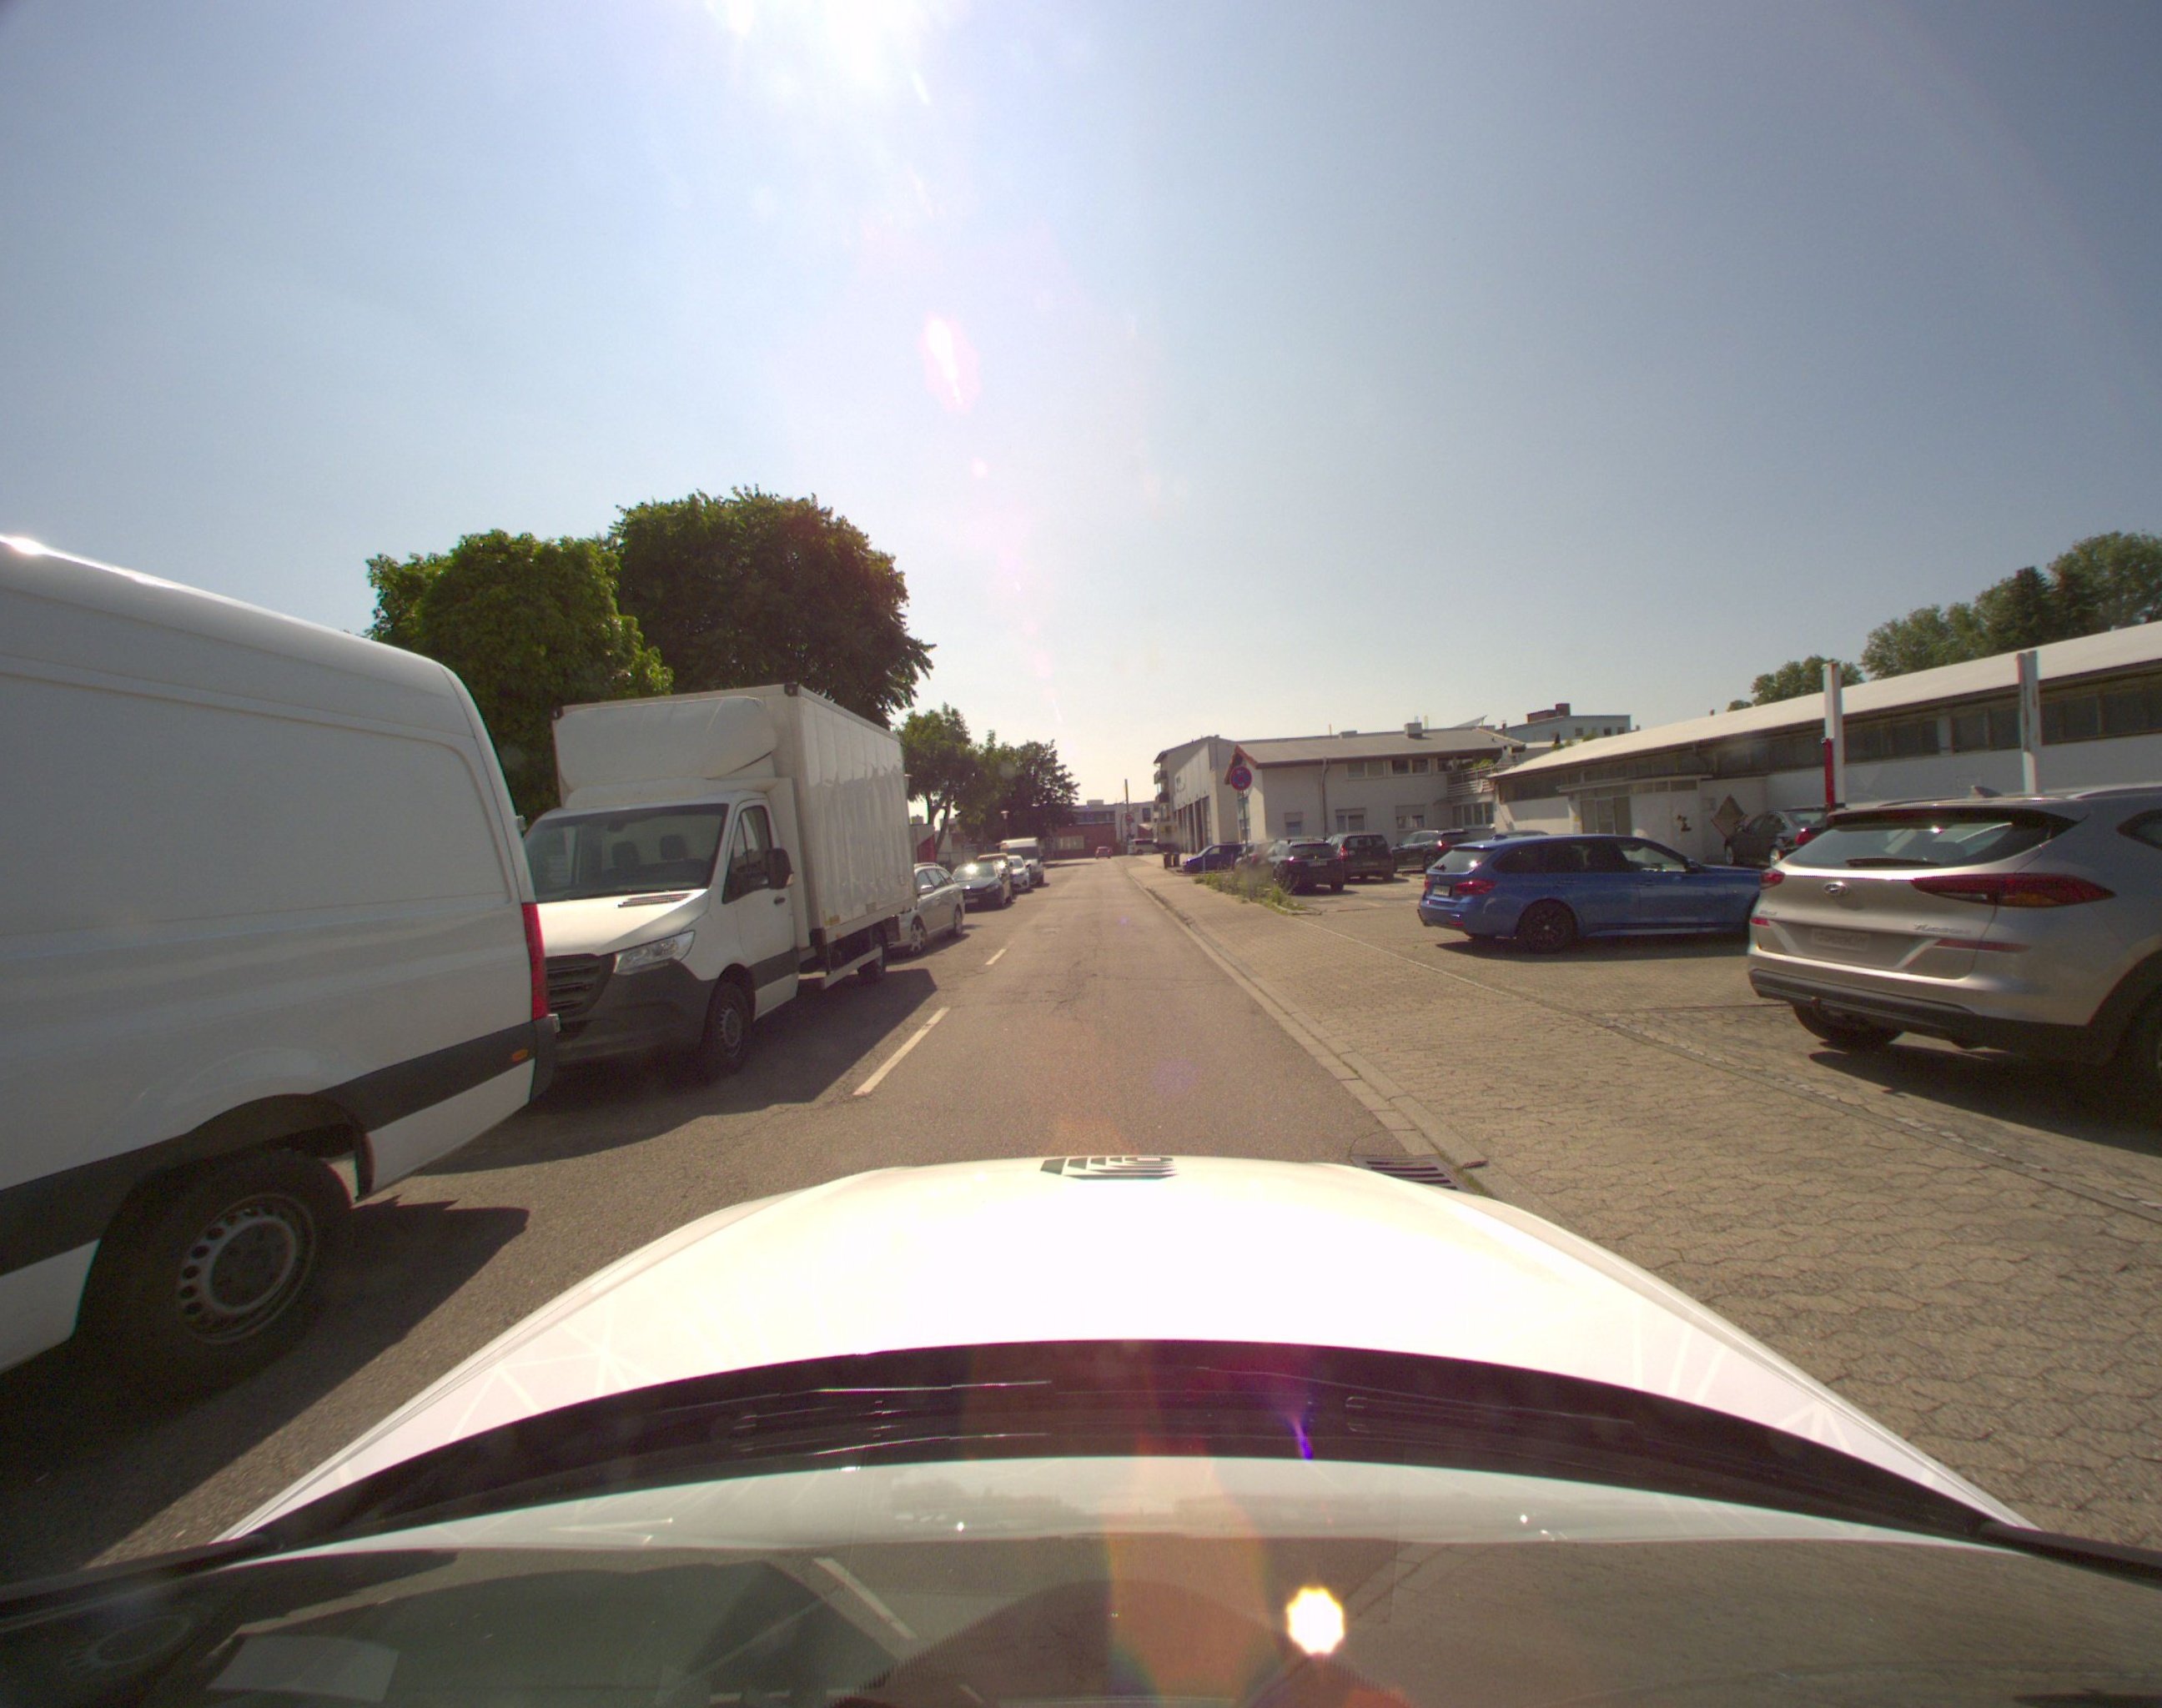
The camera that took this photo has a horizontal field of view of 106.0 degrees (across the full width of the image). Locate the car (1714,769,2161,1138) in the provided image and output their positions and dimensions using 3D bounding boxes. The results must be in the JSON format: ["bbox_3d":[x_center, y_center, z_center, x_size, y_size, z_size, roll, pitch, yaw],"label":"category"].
[{"bbox_3d":[6.352,0.473,4.615,4.187,1.682,1.767,1,0,0],"label":"car"}]

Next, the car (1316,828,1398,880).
[{"bbox_3d":[8.978,-0.046,26.784,1.751,1.595,3.624,0,1,5],"label":"car"}]

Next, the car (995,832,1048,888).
[{"bbox_3d":[-2.800,0.311,39.697,1.999,2.366,5.228,-5,-1,0],"label":"car"}]

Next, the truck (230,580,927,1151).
[{"bbox_3d":[-3.804,0.067,8.639,2.676,3.366,7.130,-4,0,0],"label":"truck"}]

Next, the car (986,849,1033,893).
[{"bbox_3d":[-2.970,0.669,34.524,1.701,1.624,3.969,-5,1,-3],"label":"car"}]

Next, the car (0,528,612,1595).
[{"bbox_3d":[-3.770,0.552,0.879,2.160,2.595,6.922,-5,0,2],"label":"car"}]

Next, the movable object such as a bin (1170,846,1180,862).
[{"bbox_3d":[5.705,-0.015,49.334,0.510,0.946,0.489,-4,1,13],"label":"movable object such as a bin"}]

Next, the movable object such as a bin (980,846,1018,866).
[{"bbox_3d":[-7.070,0.138,70.507,2.613,1.510,2.734,-4,1,7],"label":"movable object such as a bin"}]

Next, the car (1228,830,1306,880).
[{"bbox_3d":[6.617,0.006,29.420,1.805,1.558,4.293,-4,1,1],"label":"car"}]

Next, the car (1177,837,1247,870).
[{"bbox_3d":[6.617,-0.042,41.228,3.241,1.398,1.674,-4,1,1],"label":"car"}]

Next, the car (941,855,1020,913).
[{"bbox_3d":[-3.038,0.870,25.426,1.698,1.462,4.116,-5,1,2],"label":"car"}]

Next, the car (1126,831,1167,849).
[{"bbox_3d":[8.092,-1.701,100.907,4.667,1.957,1.905,-4,1,-18],"label":"car"}]

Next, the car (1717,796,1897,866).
[{"bbox_3d":[16.399,-0.530,18.673,1.694,1.324,4.210,-3,1,22],"label":"car"}]

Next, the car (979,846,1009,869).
[{"bbox_3d":[-6.562,0.265,61.697,1.808,1.530,3.675,-5,1,0],"label":"car"}]

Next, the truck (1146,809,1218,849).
[{"bbox_3d":[11.409,-2.833,92.441,7.348,3.644,2.763,-7,1,-5],"label":"truck"}]

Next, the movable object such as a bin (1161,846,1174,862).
[{"bbox_3d":[5.202,-0.004,48.929,0.562,0.946,0.561,-4,1,35],"label":"movable object such as a bin"}]

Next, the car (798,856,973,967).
[{"bbox_3d":[-3.304,0.887,14.682,1.733,1.521,4.315,-4,1,4],"label":"car"}]

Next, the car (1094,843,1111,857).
[{"bbox_3d":[2.683,-0.530,102.692,1.886,1.685,3.953,0,0,-4],"label":"car"}]

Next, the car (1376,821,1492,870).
[{"bbox_3d":[12.530,-0.279,29.187,1.760,1.495,4.136,-5,1,-9],"label":"car"}]

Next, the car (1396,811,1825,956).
[{"bbox_3d":[6.691,0.341,10.669,4.338,1.441,1.892,-4,0,0],"label":"car"}]

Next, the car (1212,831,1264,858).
[{"bbox_3d":[11.008,-0.673,56.995,1.756,1.539,3.726,-4,1,43],"label":"car"}]

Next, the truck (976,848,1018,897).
[{"bbox_3d":[-3.145,0.661,30.915,1.135,1.622,3.140,-6,1,-1],"label":"truck"}]

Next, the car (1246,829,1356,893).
[{"bbox_3d":[6.288,0.150,23.875,1.852,1.567,4.952,-4,1,1],"label":"car"}]

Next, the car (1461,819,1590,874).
[{"bbox_3d":[12.622,-0.233,23.428,1.634,1.324,4.105,-4,1,4],"label":"car"}]

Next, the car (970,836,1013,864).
[{"bbox_3d":[-9.050,-0.391,82.504,4.073,2.512,1.776,-4,1,-1],"label":"car"}]

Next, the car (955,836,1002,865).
[{"bbox_3d":[-9.749,-0.348,77.687,4.073,2.512,1.776,-4,1,-1],"label":"car"}]
